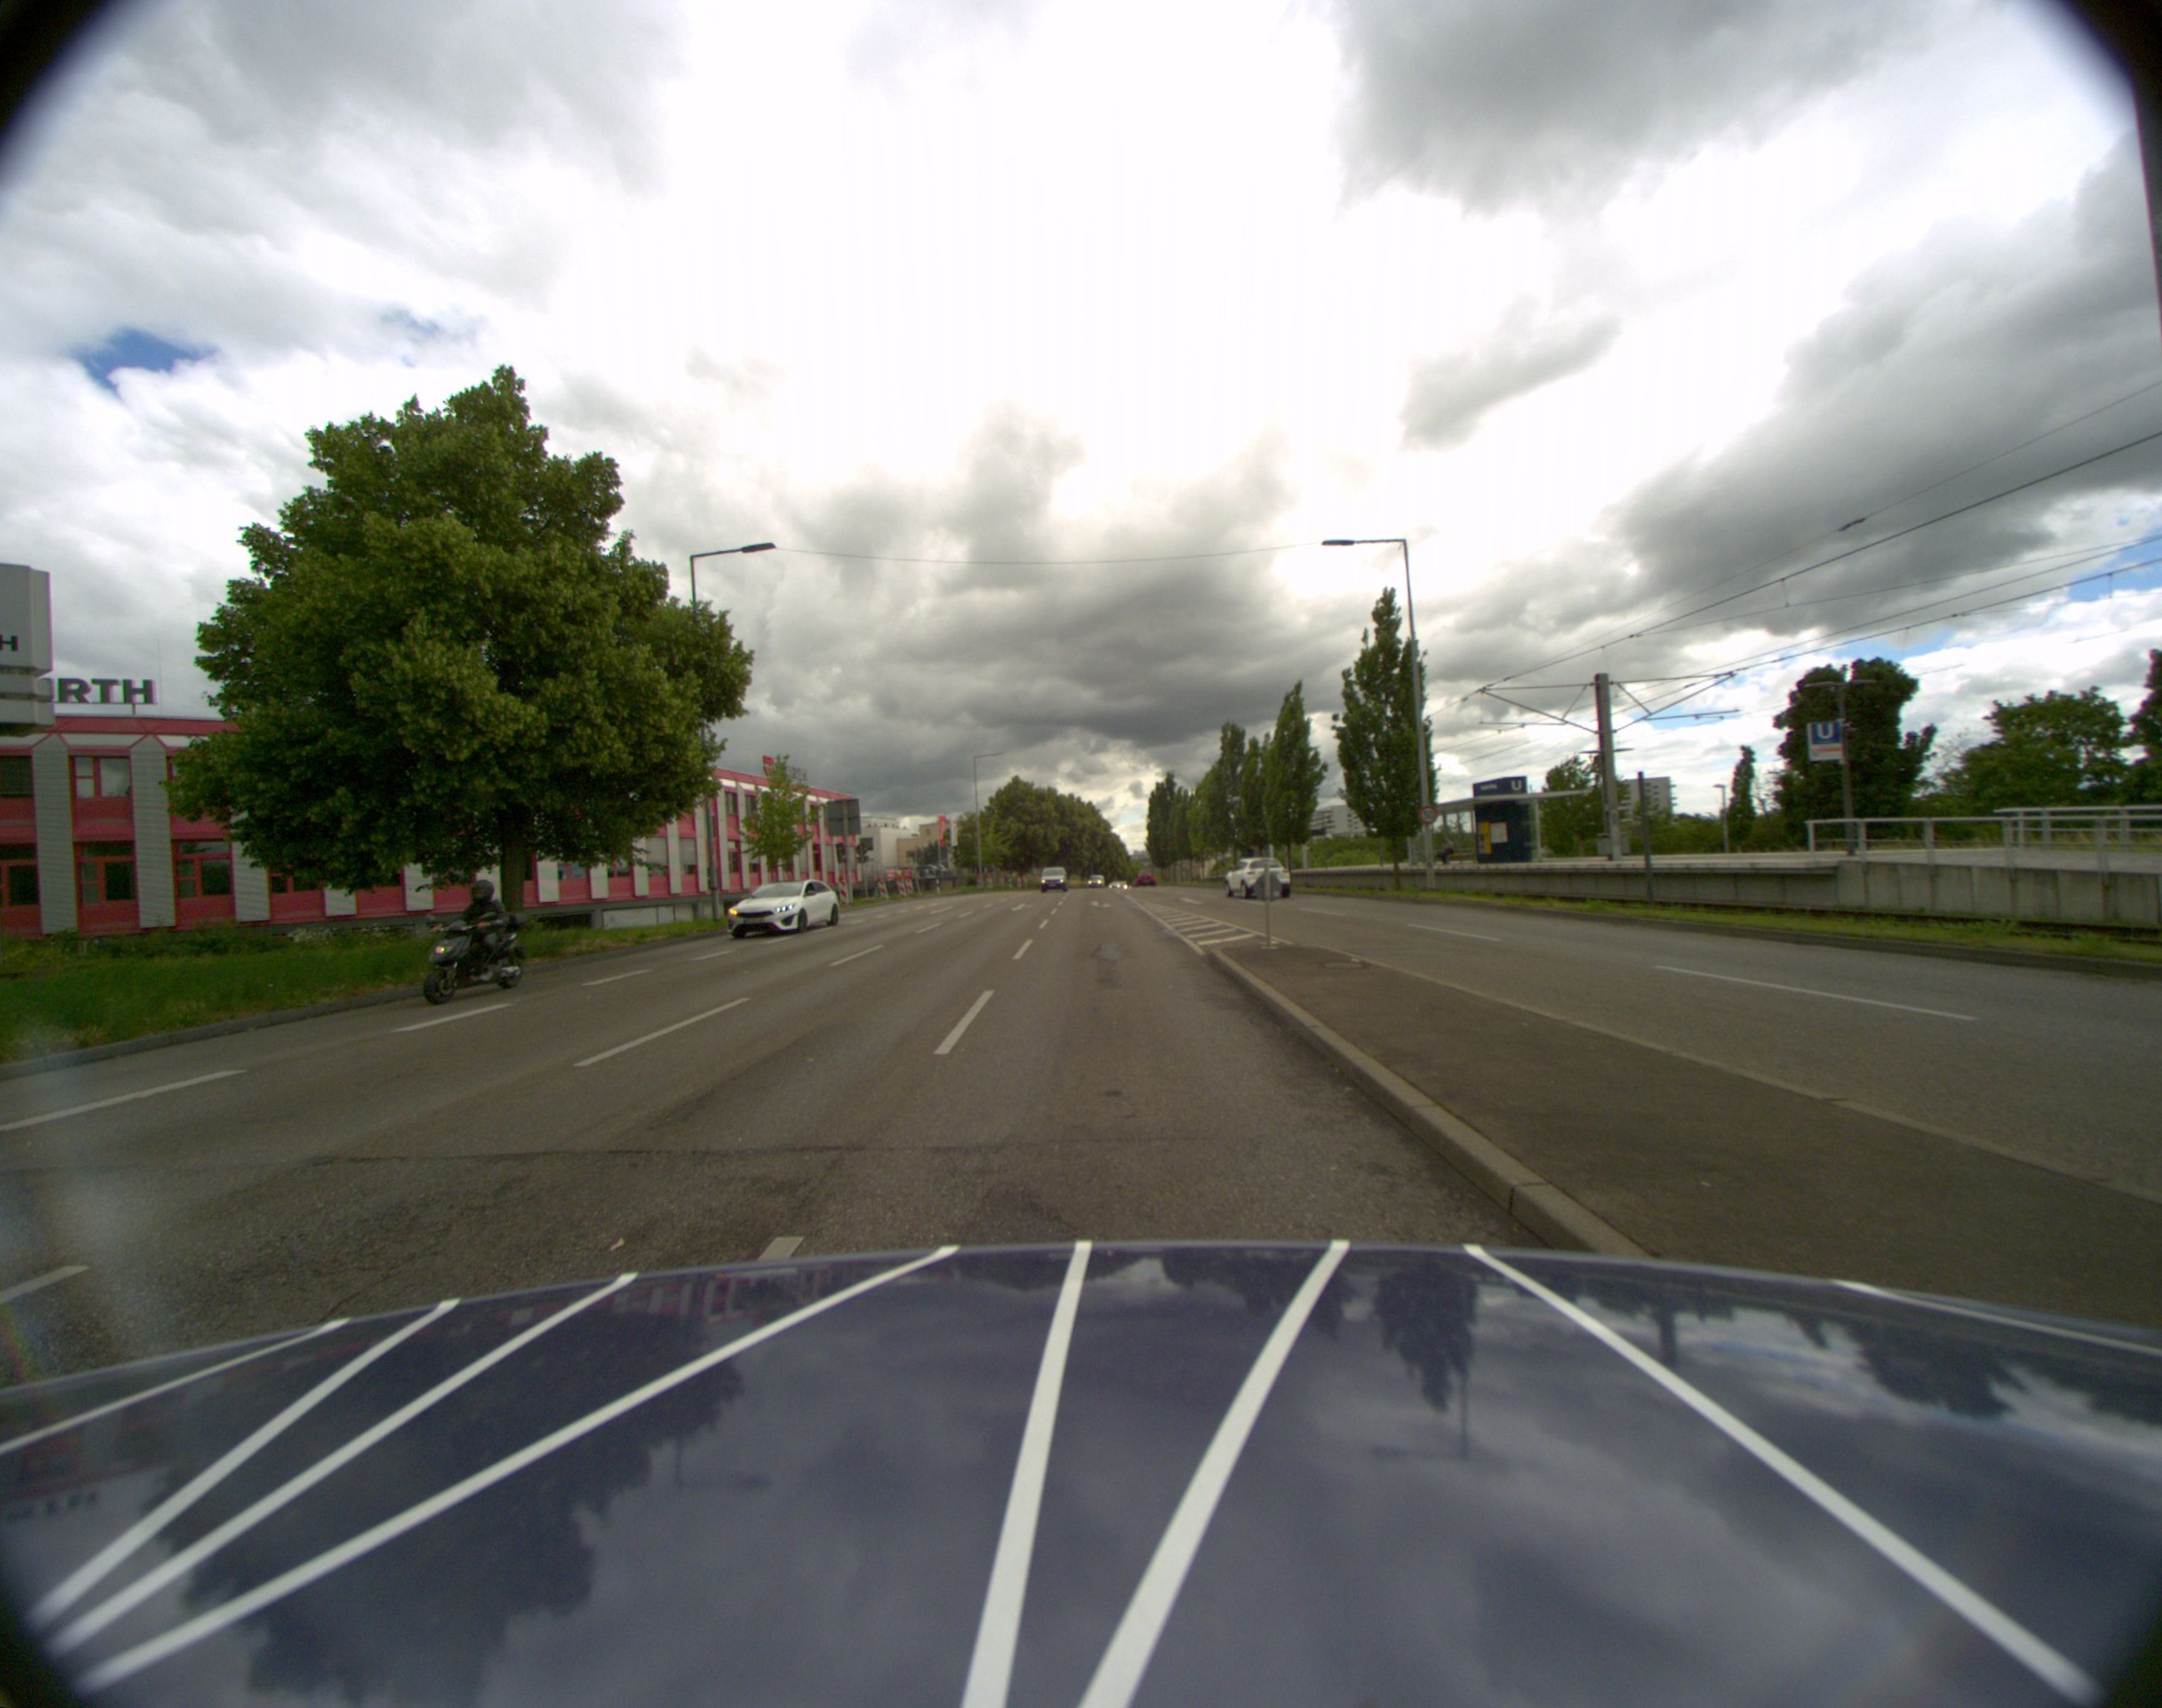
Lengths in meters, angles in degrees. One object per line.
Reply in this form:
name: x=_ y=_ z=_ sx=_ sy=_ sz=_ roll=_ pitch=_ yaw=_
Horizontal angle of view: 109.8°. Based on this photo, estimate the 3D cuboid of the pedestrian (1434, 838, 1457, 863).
pedestrian: x=17.620 y=-0.175 z=36.722 sx=0.663 sy=1.195 sz=0.782 roll=-2 pitch=0 yaw=-7

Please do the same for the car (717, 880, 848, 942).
car: x=-8.022 y=1.476 z=20.903 sx=1.785 sy=1.354 sz=4.480 roll=-4 pitch=-1 yaw=0

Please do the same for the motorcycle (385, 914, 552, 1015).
motorcycle: x=-8.603 y=1.507 z=10.800 sx=0.750 sy=1.140 sz=1.943 roll=-4 pitch=-1 yaw=-1

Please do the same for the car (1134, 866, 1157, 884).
car: x=5.856 y=1.899 z=69.418 sx=1.785 sy=1.434 sz=4.426 roll=-3 pitch=-1 yaw=1

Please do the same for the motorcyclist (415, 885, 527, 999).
motorcyclist: x=-8.625 y=1.210 z=10.784 sx=0.750 sy=1.481 sz=0.933 roll=-4 pitch=-1 yaw=-2

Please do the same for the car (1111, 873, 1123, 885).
car: x=5.843 y=4.030 z=123.734 sx=1.782 sy=1.744 sz=4.253 roll=-2 pitch=0 yaw=3

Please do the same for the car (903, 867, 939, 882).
car: x=-21.215 y=2.688 z=100.996 sx=4.248 sy=1.744 sz=1.784 roll=-2 pitch=0 yaw=2

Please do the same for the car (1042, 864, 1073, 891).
car: x=-1.708 y=1.706 z=55.901 sx=1.782 sy=1.744 sz=4.253 roll=-2 pitch=0 yaw=4

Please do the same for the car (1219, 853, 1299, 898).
car: x=6.963 y=0.792 z=30.196 sx=1.834 sy=1.619 sz=4.424 roll=-2 pitch=0 yaw=-4

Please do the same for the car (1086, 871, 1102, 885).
car: x=1.752 y=3.122 z=99.637 sx=1.984 sy=1.744 sz=4.253 roll=-2 pitch=0 yaw=3

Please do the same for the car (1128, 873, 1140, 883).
car: x=8.984 y=4.110 z=128.571 sx=1.782 sy=1.537 sz=4.225 roll=-2 pitch=0 yaw=2
